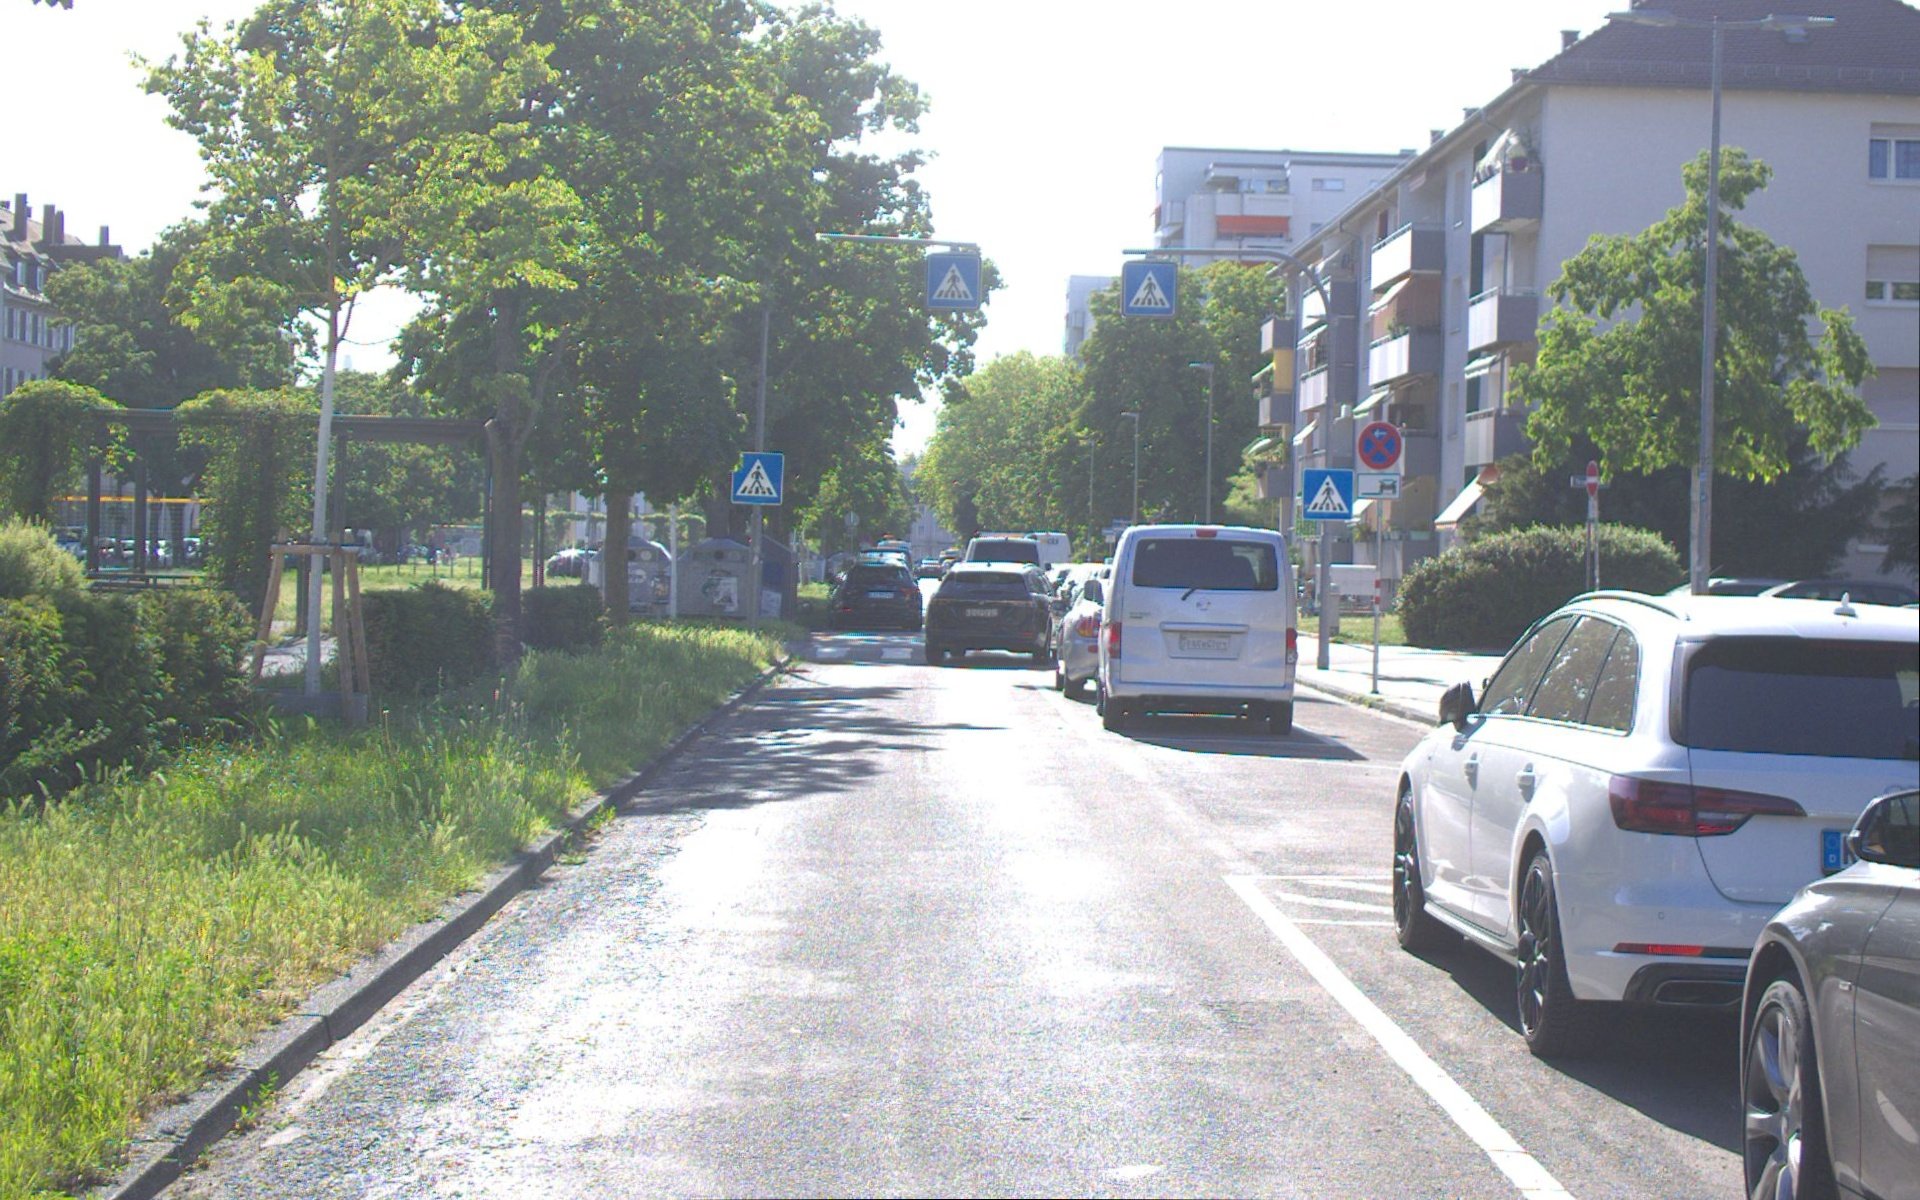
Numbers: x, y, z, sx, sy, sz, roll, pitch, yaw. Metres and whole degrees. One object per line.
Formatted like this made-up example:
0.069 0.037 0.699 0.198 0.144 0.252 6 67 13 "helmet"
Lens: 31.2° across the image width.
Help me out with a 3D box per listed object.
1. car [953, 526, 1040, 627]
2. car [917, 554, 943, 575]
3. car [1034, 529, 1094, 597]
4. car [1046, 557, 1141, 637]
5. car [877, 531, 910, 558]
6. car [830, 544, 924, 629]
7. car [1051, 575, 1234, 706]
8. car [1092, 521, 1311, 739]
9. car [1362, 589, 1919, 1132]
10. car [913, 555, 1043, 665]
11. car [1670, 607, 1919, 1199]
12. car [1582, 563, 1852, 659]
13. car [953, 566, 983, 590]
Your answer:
0.778 -0.527 75.610 1.794 2.115 4.000 2 1 0 "car"
-2.138 -2.528 245.157 1.794 1.505 4.000 1 1 0 "car"
3.933 -1.414 130.625 1.993 2.422 4.500 3 1 0 "car"
2.820 -0.078 73.447 1.794 1.595 4.000 2 1 0 "car"
-3.769 -3.130 194.561 1.794 1.505 4.000 1 1 0 "car"
-1.661 -0.299 69.773 1.794 1.619 4.000 2 1 0 "car"
1.991 0.425 38.605 1.764 1.314 4.168 2 0 0 "car"
2.191 0.229 32.242 1.794 1.849 4.413 2 1 1 "car"
2.597 0.713 11.686 1.794 1.415 4.658 1 1 -1 "car"
0.239 0.111 50.685 1.794 1.505 4.000 2 1 0 "car"
2.661 0.774 5.636 1.993 1.415 4.636 1 1 0 "car"
13.827 0.211 62.967 4.479 1.617 1.800 1 -1 -3 "car"
0.497 -1.388 217.758 1.794 1.505 4.000 1 1 0 "car"
